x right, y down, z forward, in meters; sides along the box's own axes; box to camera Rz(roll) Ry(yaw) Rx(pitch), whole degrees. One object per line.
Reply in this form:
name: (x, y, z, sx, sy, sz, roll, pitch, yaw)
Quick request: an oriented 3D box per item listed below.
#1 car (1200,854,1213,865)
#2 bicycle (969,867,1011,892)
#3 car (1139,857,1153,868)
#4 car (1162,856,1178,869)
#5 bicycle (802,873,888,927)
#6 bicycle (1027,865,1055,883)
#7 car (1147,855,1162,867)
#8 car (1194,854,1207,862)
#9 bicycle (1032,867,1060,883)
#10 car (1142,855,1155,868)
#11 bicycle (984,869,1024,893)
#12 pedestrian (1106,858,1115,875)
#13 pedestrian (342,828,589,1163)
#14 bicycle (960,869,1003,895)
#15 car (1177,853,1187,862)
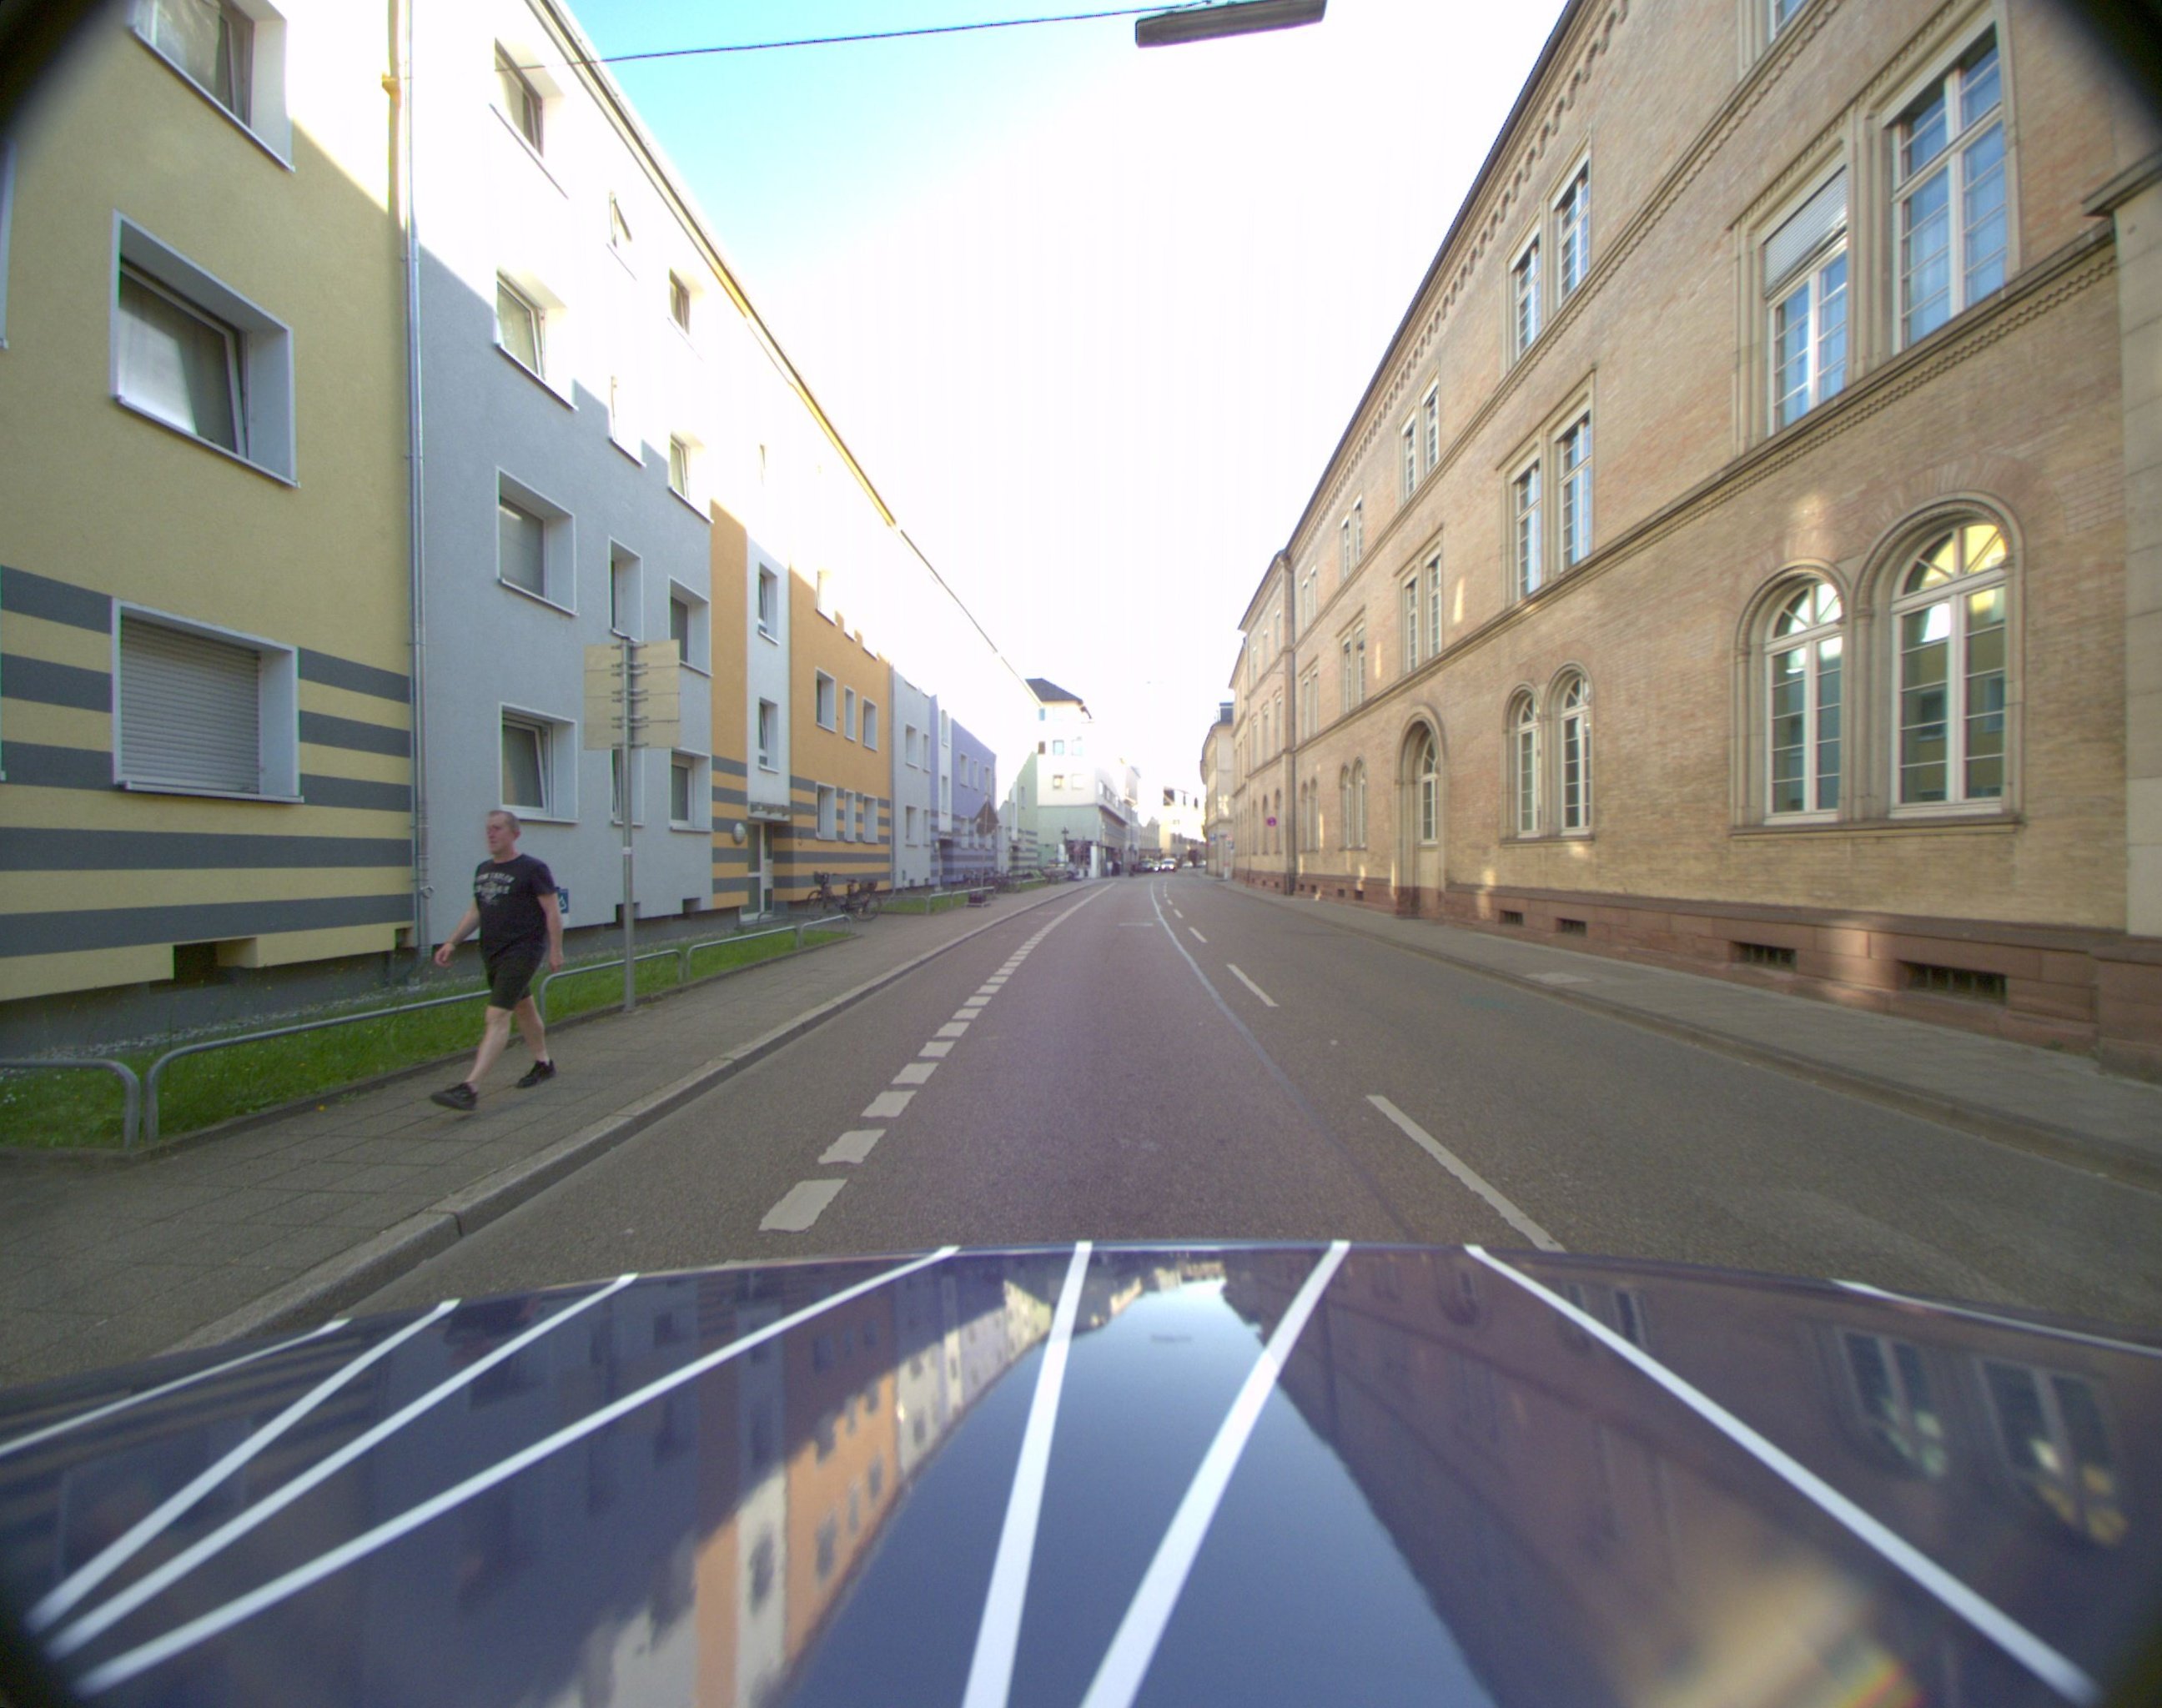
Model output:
car: (19.947, 0.877, 120.415, 1.662, 1.714, 3.743, 0, 0, 14)
bicycle: (-3.950, 1.101, 32.987, 1.710, 1.075, 0.636, 1, 0, 1)
car: (8.641, 1.170, 100.758, 1.634, 1.405, 3.687, 0, 0, 8)
car: (11.964, 1.141, 101.829, 1.921, 1.712, 4.964, 0, 0, 9)
bicycle: (-5.291, 1.026, 17.091, 1.711, 1.152, 0.636, 1, 0, -2)
bicycle: (-2.420, 1.205, 46.106, 1.711, 1.097, 0.585, 1, 0, -2)
car: (10.869, 1.083, 112.429, 1.861, 1.714, 3.742, 0, 0, 11)
car: (25.780, 0.904, 163.619, 1.925, 1.714, 4.236, 0, 0, 19)
bicycle: (-2.173, 1.314, 47.567, 1.711, 0.972, 0.516, 1, 0, -2)
car: (9.467, 1.001, 106.032, 1.535, 1.714, 3.741, 0, 0, 8)
bicycle: (-3.391, 1.180, 33.748, 1.711, 1.029, 0.636, 1, 0, -2)
pedestrian: (2.596, 1.106, 66.722, 0.707, 1.510, 0.662, -1, 0, 13)
pedestrian: (-3.626, 0.762, 4.563, 0.646, 1.778, 0.916, 3, 1, 4)
bicycle: (-4.152, 1.152, 31.844, 1.710, 1.039, 0.636, 1, 0, 2)
car: (19.924, 0.707, 149.634, 1.534, 1.714, 3.743, 0, 0, 16)
